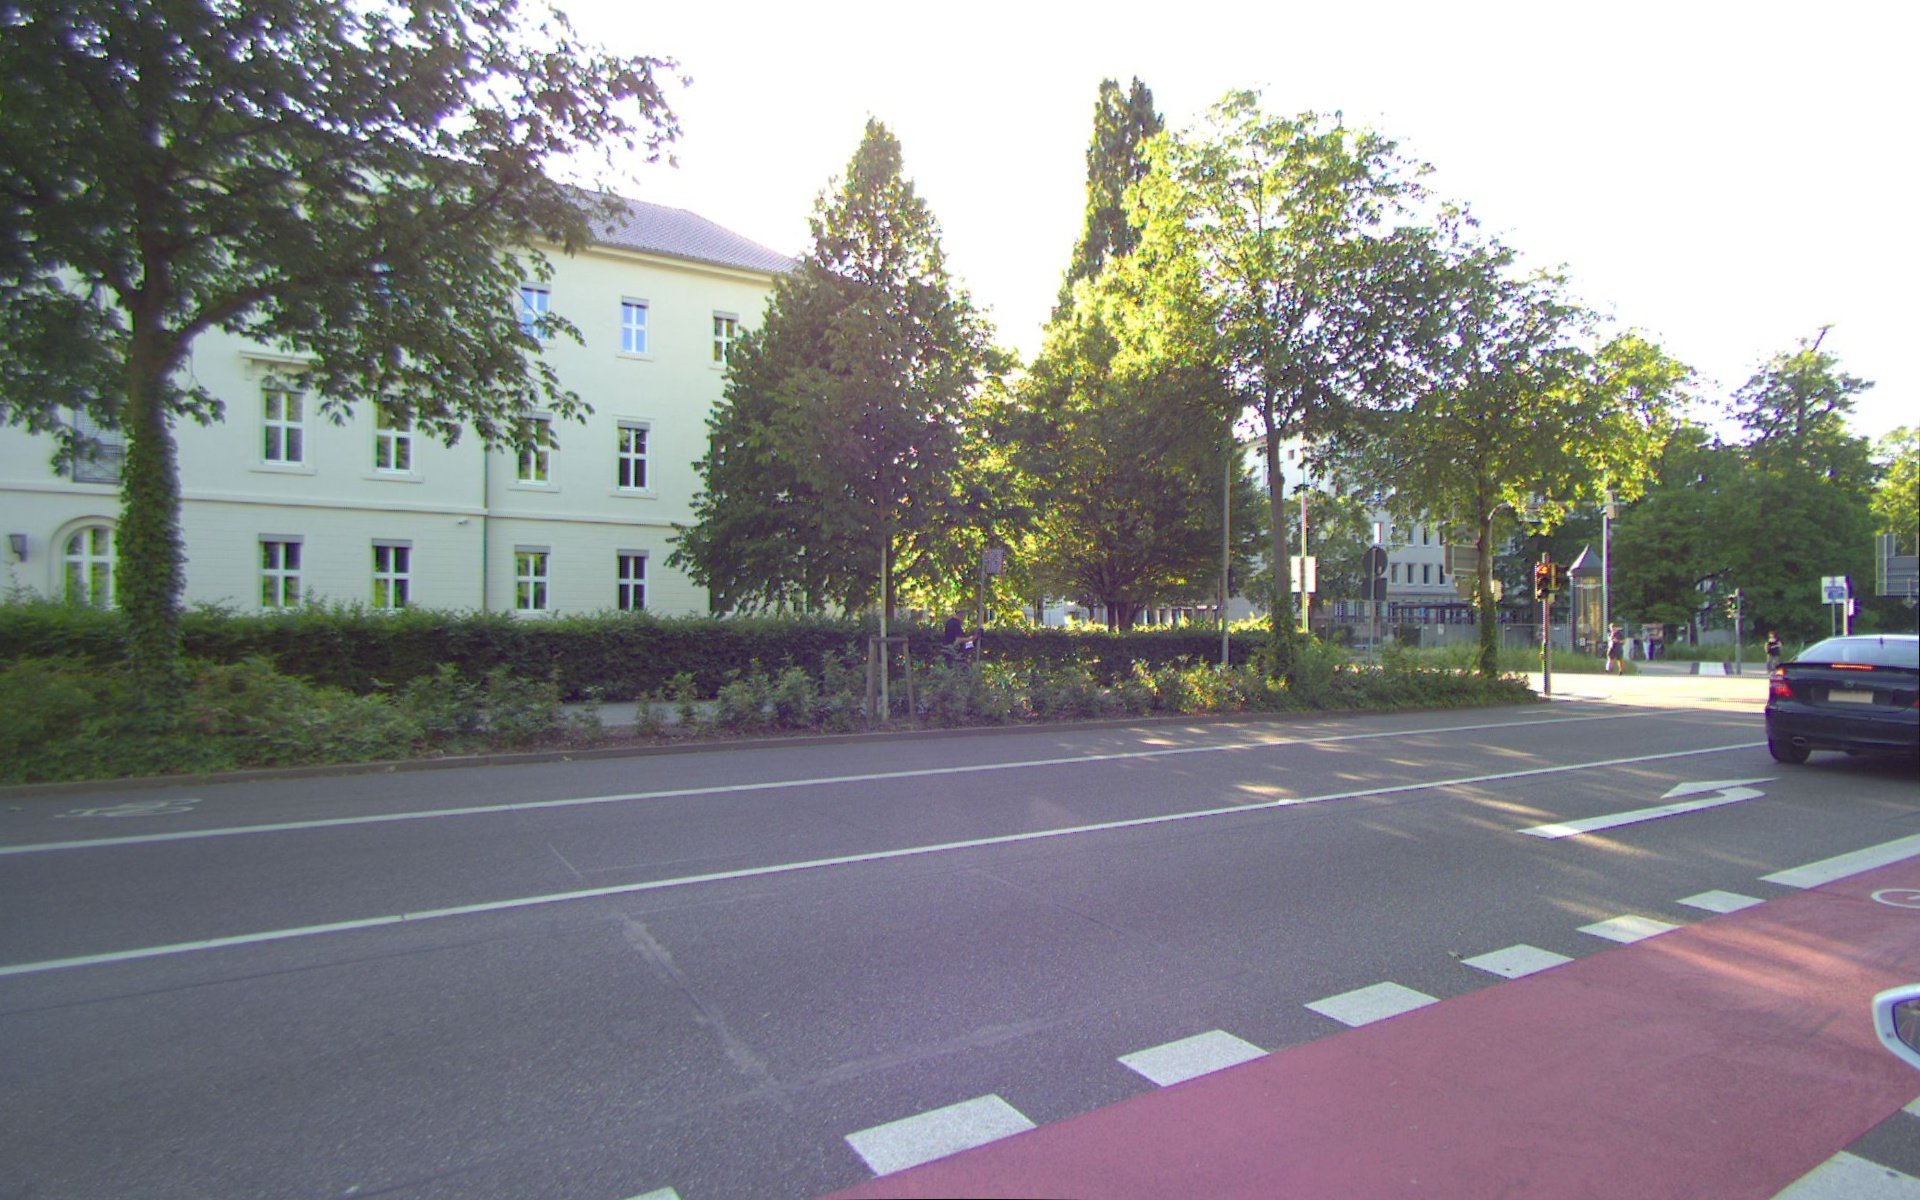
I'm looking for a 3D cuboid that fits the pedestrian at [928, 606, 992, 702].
[{"bbox_3d":[-0.007,1.004,18.965,0.955,1.743,0.832,1,-2,-26],"label":"pedestrian"}]

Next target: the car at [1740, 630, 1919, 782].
[{"bbox_3d":[10.543,1.051,11.027,4.214,1.423,1.697,1,-2,-30],"label":"car"}]

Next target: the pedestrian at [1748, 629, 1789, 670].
[{"bbox_3d":[33.109,2.022,41.141,0.992,1.624,1.080,1,-2,-36],"label":"pedestrian"}]

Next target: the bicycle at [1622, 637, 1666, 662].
[{"bbox_3d":[34.266,2.481,50.331,0.288,1.163,1.849,2,-1,-36],"label":"bicycle"}]

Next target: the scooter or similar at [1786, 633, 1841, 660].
[{"bbox_3d":[39.468,2.148,46.471,1.882,1.139,0.713,1,-1,3],"label":"scooter or similar"}]

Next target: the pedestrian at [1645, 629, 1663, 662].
[{"bbox_3d":[34.396,2.235,49.815,0.442,1.601,0.624,2,-1,-39],"label":"pedestrian"}]

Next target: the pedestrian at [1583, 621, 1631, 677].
[{"bbox_3d":[23.859,1.800,37.057,1.175,2.040,0.992,2,-1,-25],"label":"pedestrian"}]

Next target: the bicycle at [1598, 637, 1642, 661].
[{"bbox_3d":[33.858,2.500,51.535,0.439,1.163,1.849,2,-1,-36],"label":"bicycle"}]

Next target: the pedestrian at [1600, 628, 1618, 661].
[{"bbox_3d":[33.376,2.268,51.666,0.442,1.664,0.624,2,-1,-39],"label":"pedestrian"}]
